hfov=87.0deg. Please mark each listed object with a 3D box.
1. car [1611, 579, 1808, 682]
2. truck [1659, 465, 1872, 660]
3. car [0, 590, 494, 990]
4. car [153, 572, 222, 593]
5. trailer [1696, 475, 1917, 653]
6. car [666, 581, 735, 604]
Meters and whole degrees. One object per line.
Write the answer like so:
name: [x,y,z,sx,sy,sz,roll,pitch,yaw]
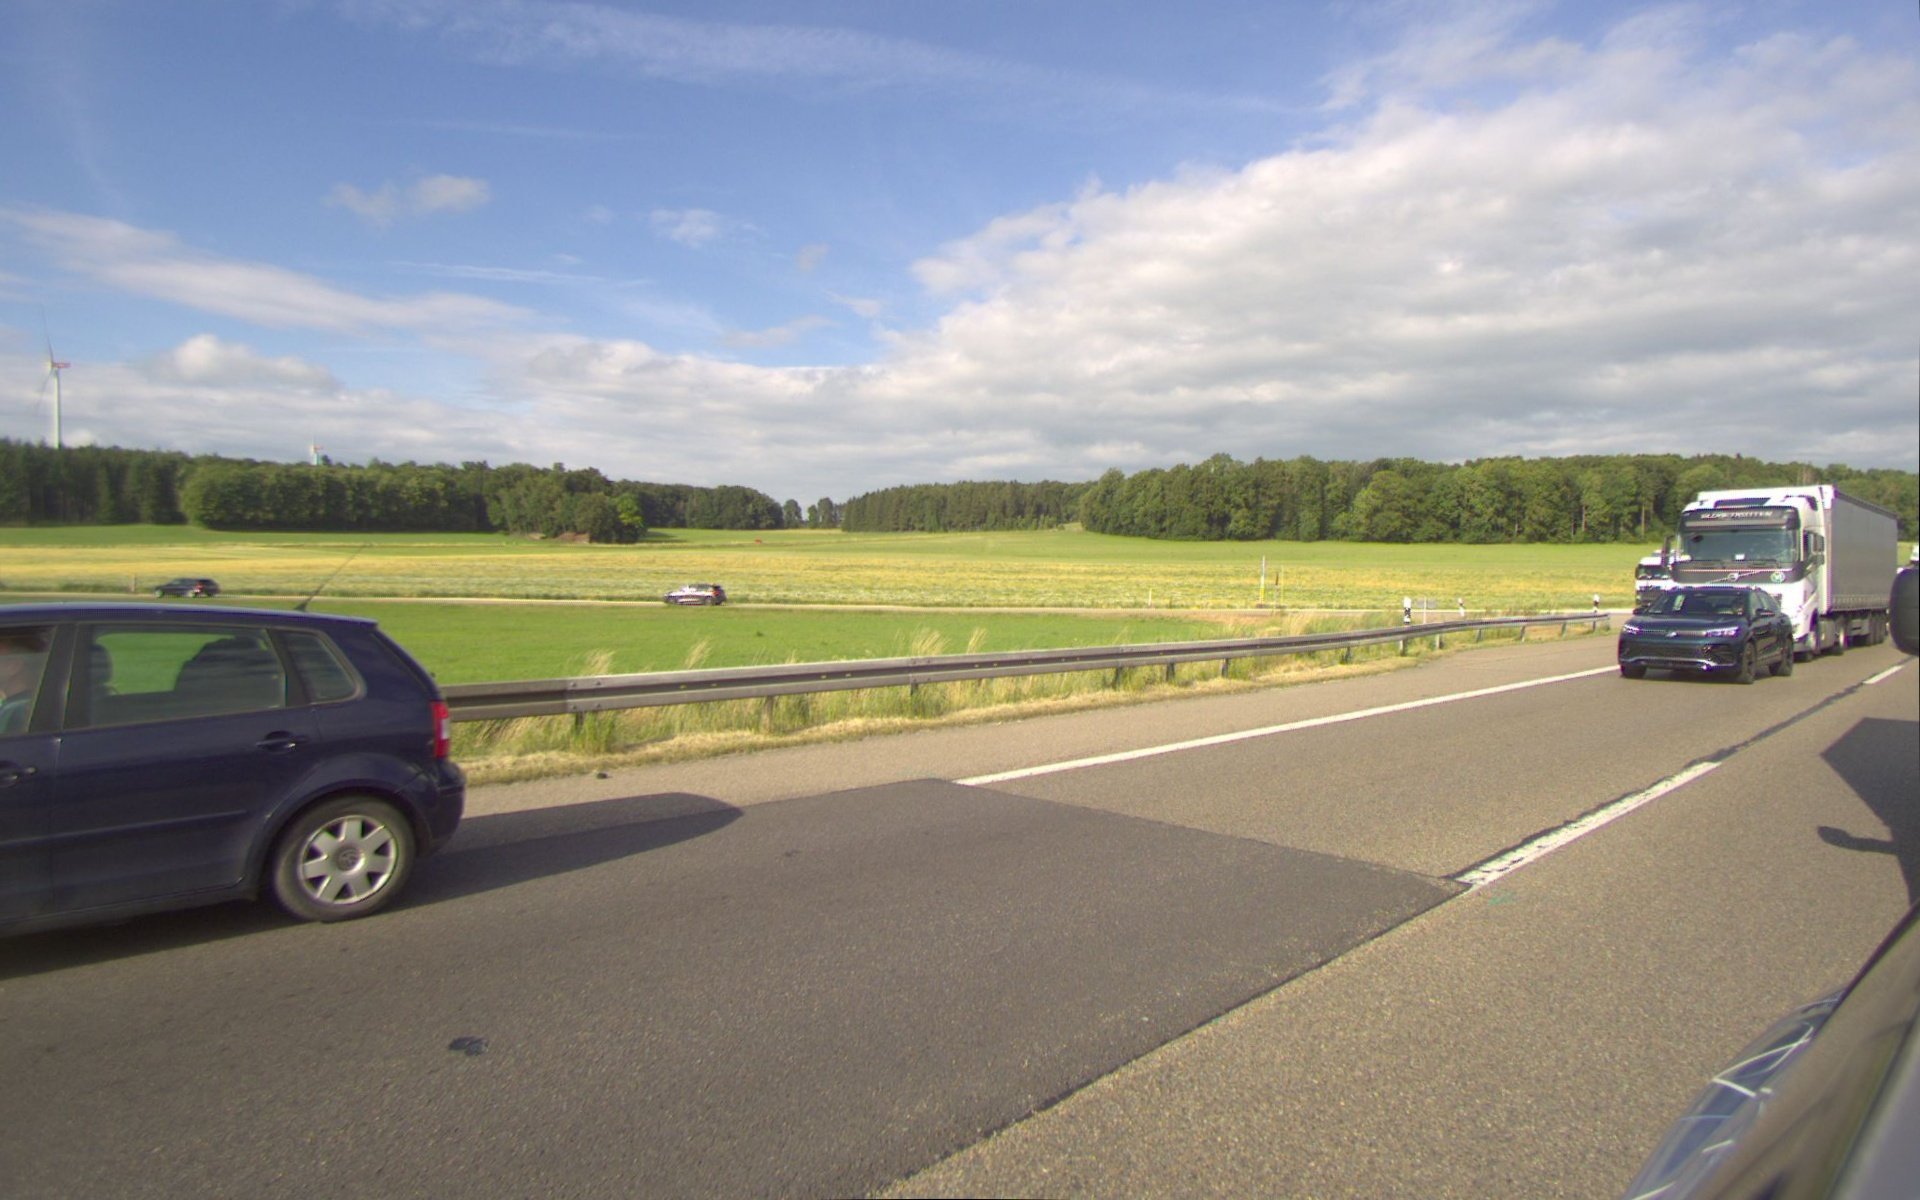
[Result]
car: [13.423,0.448,18.049,4.047,1.616,1.997,-1,1,-41]
truck: [19.321,-0.821,24.140,6.387,4.040,2.840,-1,0,-41]
car: [-4.196,0.700,4.289,3.710,1.464,1.712,-1,1,-42]
car: [-57.496,-1.318,75.339,4.154,1.505,1.832,0,0,12]
trailer: [23.662,-0.884,27.915,11.916,4.032,2.824,-1,0,-41]
car: [-17.549,-0.490,68.565,4.154,1.505,1.832,0,0,12]
